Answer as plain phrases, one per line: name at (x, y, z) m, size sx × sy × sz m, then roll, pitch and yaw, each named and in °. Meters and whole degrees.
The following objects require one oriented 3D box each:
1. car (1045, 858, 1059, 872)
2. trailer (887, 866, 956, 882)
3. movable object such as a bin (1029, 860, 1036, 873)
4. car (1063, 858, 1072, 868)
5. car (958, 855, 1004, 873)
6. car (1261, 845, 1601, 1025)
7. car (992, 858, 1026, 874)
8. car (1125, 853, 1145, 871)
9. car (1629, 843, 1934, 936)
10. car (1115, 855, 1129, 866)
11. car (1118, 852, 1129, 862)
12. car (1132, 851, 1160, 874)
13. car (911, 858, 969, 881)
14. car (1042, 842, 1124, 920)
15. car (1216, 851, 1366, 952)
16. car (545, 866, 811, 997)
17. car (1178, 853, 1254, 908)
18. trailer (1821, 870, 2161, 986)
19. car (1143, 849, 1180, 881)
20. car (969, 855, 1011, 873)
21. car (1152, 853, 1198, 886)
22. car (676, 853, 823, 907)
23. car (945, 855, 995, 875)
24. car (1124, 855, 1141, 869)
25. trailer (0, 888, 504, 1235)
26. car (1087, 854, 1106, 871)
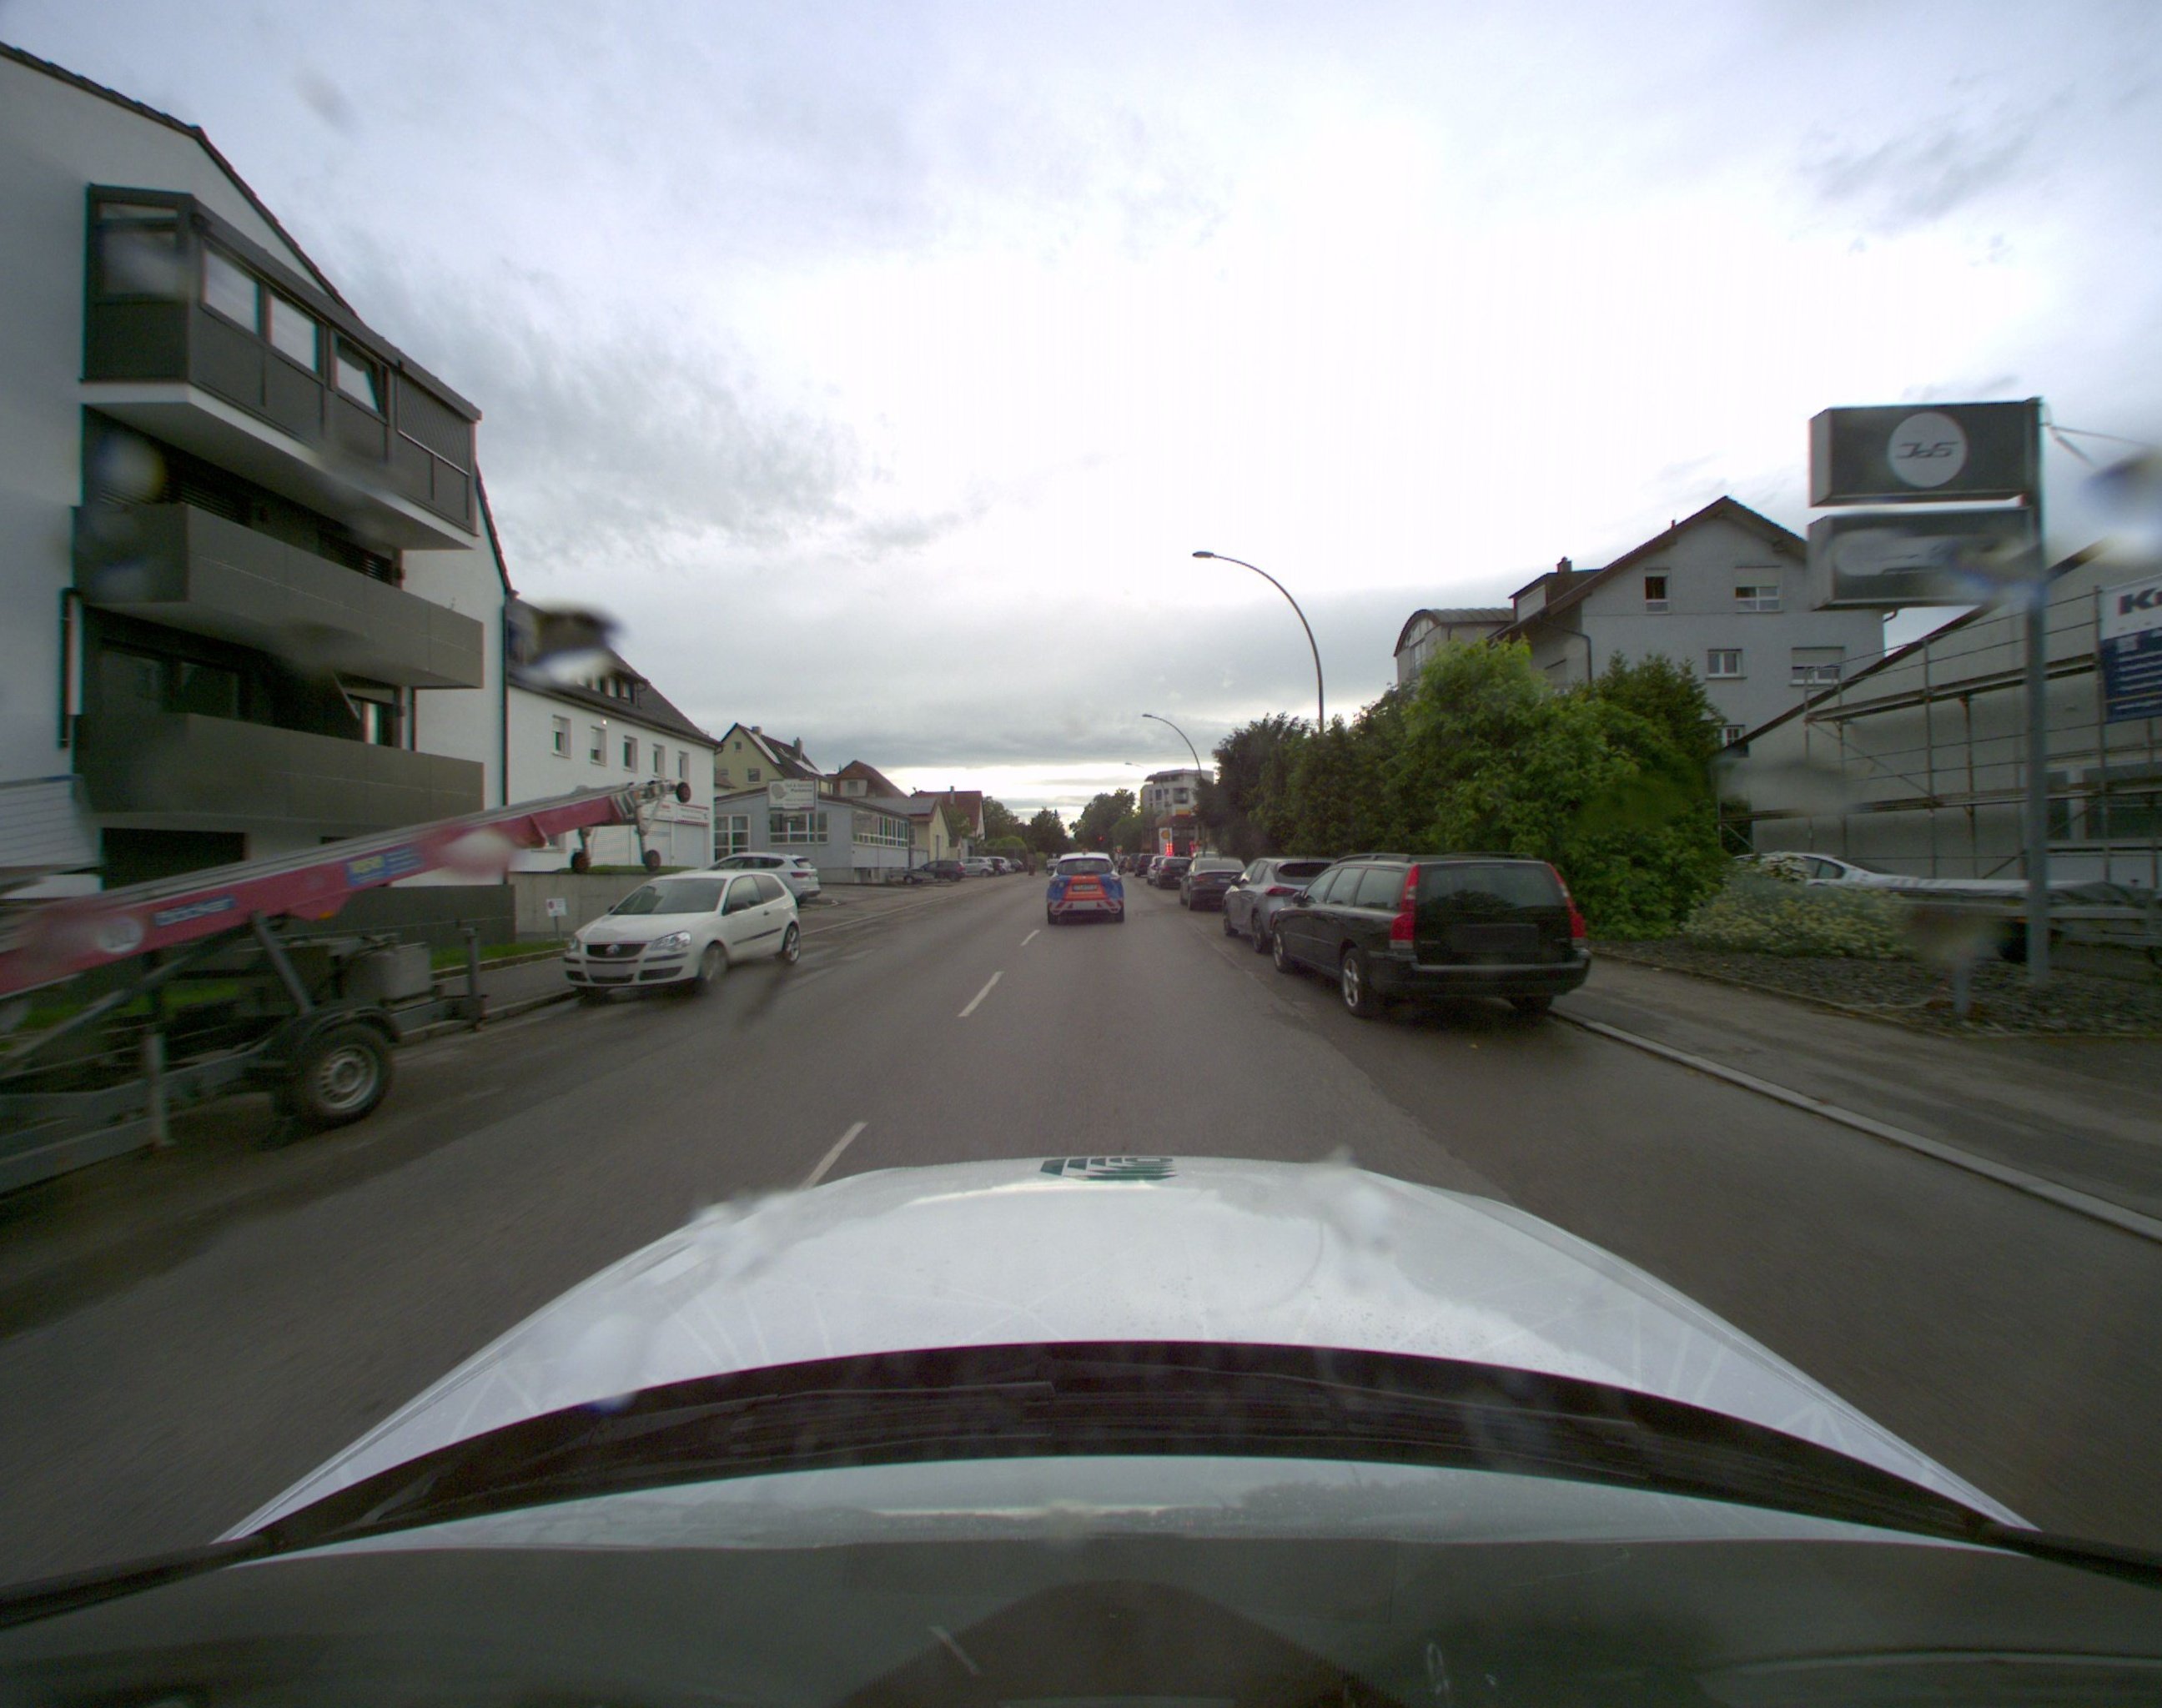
car at (-3.144, 1.156, 89.745) m, size 1.382 × 1.483 × 3.783 m, roll -1°, pitch 0°, yaw 0°
trailer at (-10.087, 1.258, 51.692) m, size 4.009 × 0.995 × 1.655 m, roll 0°, pitch 0°, yaw 0°
movable object such as a bin at (-4.445, 1.181, 74.933) m, size 0.577 × 1.204 × 0.319 m, roll 0°, pitch 0°, yaw 1°
car at (-1.768, 1.167, 108.248) m, size 1.147 × 1.232 × 3.372 m, roll -2°, pitch 0°, yaw 0°
car at (-8.424, 0.851, 69.089) m, size 3.750 × 1.483 × 1.653 m, roll 0°, pitch 0°, yaw -3°
car at (3.309, 0.661, 8.788) m, size 1.706 × 1.438 × 4.524 m, roll 0°, pitch 0°, yaw -1°
car at (-7.157, 1.166, 80.981) m, size 3.274 × 1.448 × 1.478 m, roll -2°, pitch 0°, yaw -3°
car at (5.208, 0.736, 79.044) m, size 1.644 × 1.671 × 3.999 m, roll 0°, pitch 0°, yaw 0°
car at (12.174, 0.553, 14.350) m, size 1.550 × 1.399 × 3.907 m, roll -1°, pitch 0°, yaw -43°
car at (5.550, 0.837, 110.988) m, size 1.644 × 1.483 × 3.999 m, roll 0°, pitch 0°, yaw 0°
car at (7.163, 0.589, 138.327) m, size 1.644 × 1.653 × 3.999 m, roll 0°, pitch 0°, yaw 0°
car at (4.524, 0.605, 57.274) m, size 1.644 × 1.521 × 3.999 m, roll 0°, pitch 0°, yaw 0°
car at (-9.334, 1.021, 54.148) m, size 3.572 × 1.526 × 1.653 m, roll 0°, pitch 0°, yaw -3°
car at (0.070, 0.584, 19.154) m, size 1.725 × 1.631 × 3.495 m, roll -1°, pitch 0°, yaw 1°
car at (3.321, 0.680, 13.547) m, size 1.535 × 1.429 × 3.750 m, roll 0°, pitch 0°, yaw 0°
car at (-5.224, 0.906, 11.213) m, size 1.551 × 1.433 × 4.001 m, roll 0°, pitch 0°, yaw 2°
car at (3.642, 0.685, 22.586) m, size 1.599 × 1.374 × 4.089 m, roll 0°, pitch 0°, yaw 2°
trailer at (11.224, 0.750, 9.605) m, size 1.533 × 1.059 × 3.908 m, roll 0°, pitch 0°, yaw 2°
car at (4.045, 0.570, 41.353) m, size 1.476 × 1.555 × 3.861 m, roll 1°, pitch -1°, yaw 0°
car at (-8.111, 0.879, 72.868) m, size 3.645 × 1.483 × 1.478 m, roll -2°, pitch 0°, yaw -3°
car at (4.127, 0.655, 36.144) m, size 1.644 × 1.335 × 4.001 m, roll -1°, pitch 0°, yaw 1°
car at (-10.036, 0.768, 24.843) m, size 3.747 × 1.568 × 1.655 m, roll 0°, pitch 0°, yaw 0°
car at (-8.786, 0.860, 64.730) m, size 3.750 × 1.576 × 1.653 m, roll 0°, pitch 0°, yaw -3°
car at (5.626, 0.909, 89.862) m, size 1.644 × 1.483 × 3.999 m, roll 0°, pitch 0°, yaw 0°
trailer at (-5.490, 0.985, 3.906) m, size 1.712 × 1.260 × 5.244 m, roll 0°, pitch 2°, yaw 0°
car at (1.410, 0.769, 74.702) m, size 1.644 × 1.521 × 3.999 m, roll 0°, pitch 0°, yaw 0°
